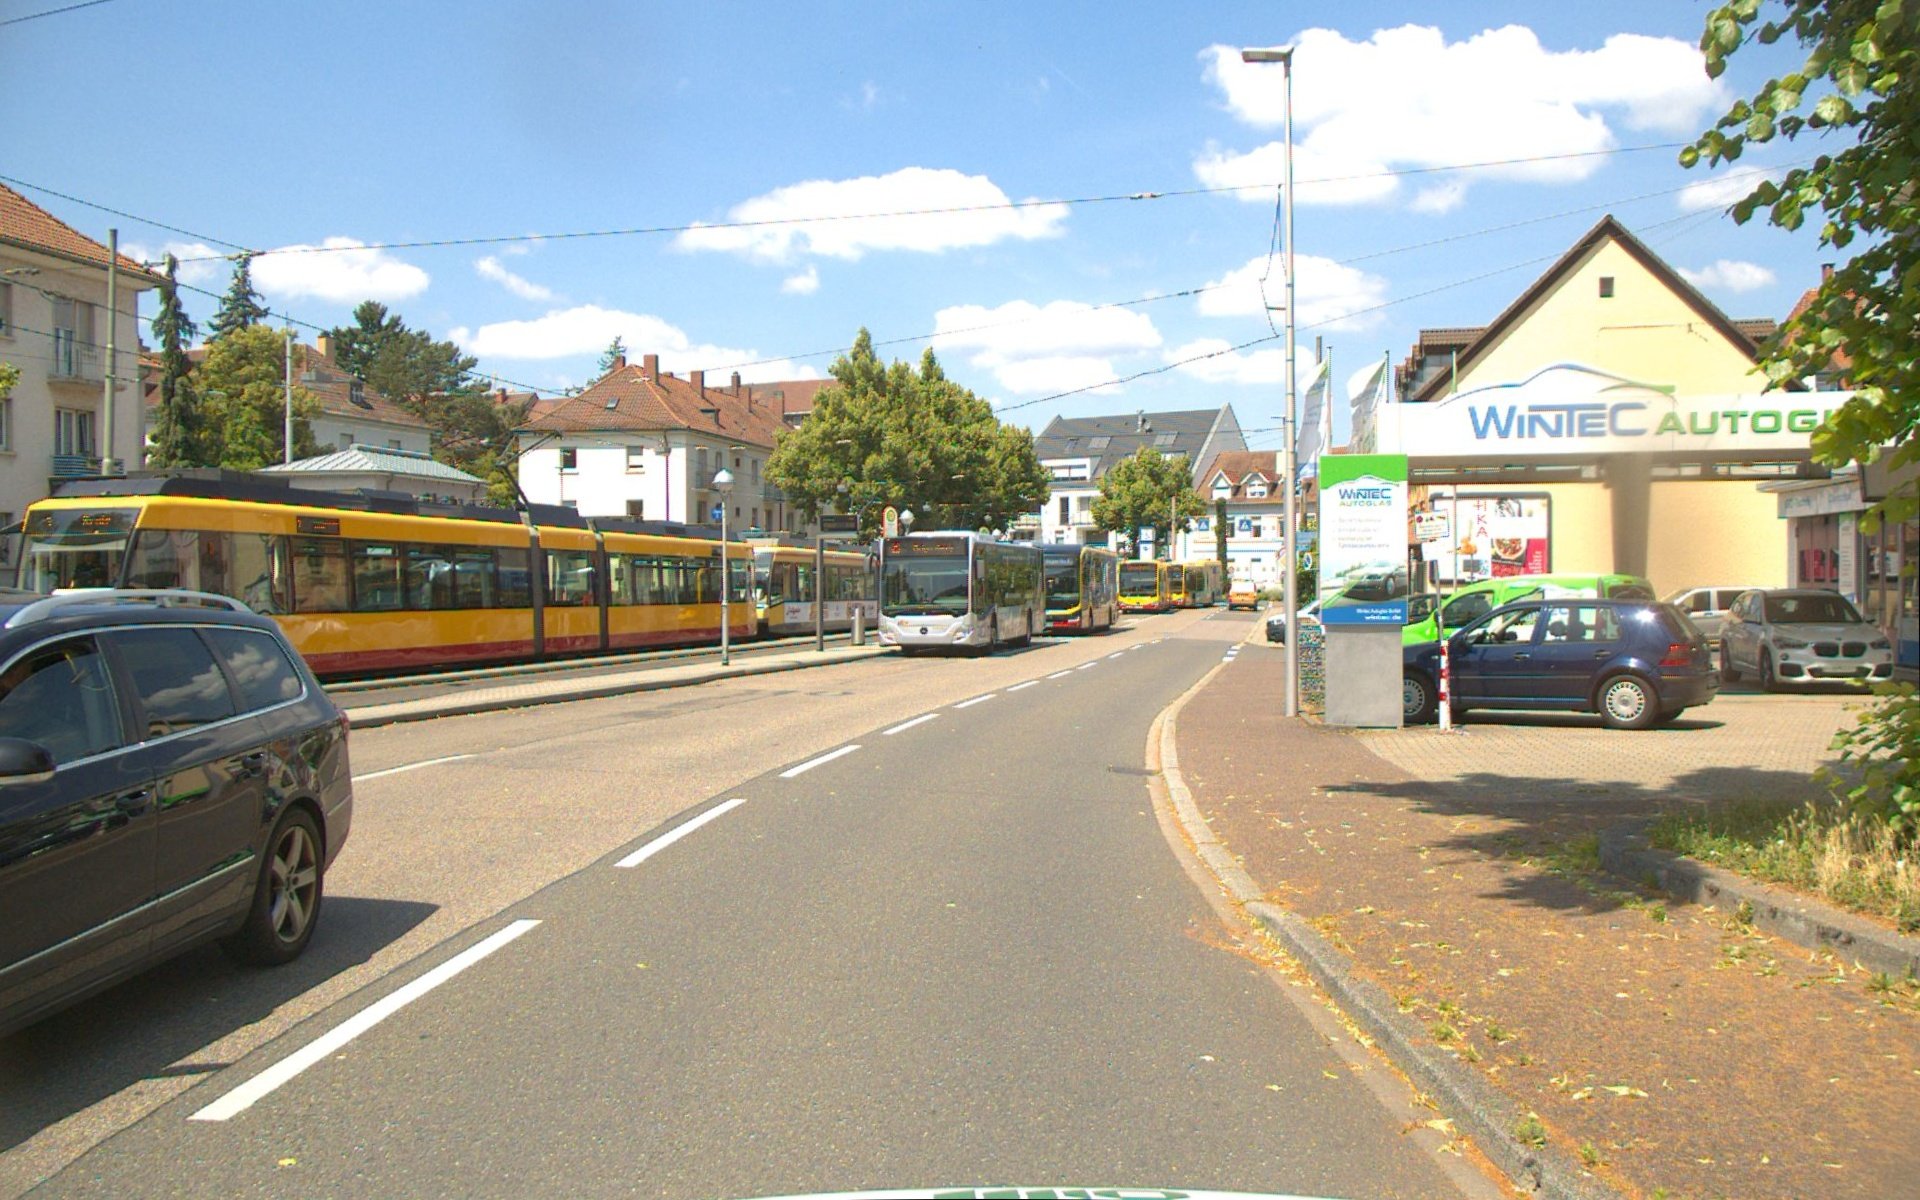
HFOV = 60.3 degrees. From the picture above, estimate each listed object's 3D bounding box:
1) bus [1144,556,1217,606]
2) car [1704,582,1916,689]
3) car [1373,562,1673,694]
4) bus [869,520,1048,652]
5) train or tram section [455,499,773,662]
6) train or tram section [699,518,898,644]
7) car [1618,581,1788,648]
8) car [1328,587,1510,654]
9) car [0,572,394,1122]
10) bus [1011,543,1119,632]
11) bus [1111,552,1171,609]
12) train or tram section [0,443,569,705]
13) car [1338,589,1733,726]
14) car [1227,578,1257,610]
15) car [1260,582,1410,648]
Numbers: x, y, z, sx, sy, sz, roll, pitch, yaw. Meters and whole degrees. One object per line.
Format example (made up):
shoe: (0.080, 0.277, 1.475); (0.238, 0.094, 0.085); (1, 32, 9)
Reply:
bus: (15.216, -1.249, 113.459); (2.580, 3.275, 9.939); (0, 0, 22)
car: (14.082, 0.544, 27.679); (1.965, 1.624, 4.292); (0, 0, 10)
car: (8.407, 0.395, 24.966); (1.822, 1.825, 3.972); (0, 0, -37)
bus: (0.259, -0.370, 46.086); (2.672, 3.184, 12.018); (0, 0, 11)
train or tram section: (-8.589, -0.460, 44.287); (2.725, 3.631, 14.718); (0, 0, 12)
train or tram section: (-5.402, -0.623, 60.026); (2.725, 3.963, 15.565); (0, 0, 12)
car: (22.156, 0.399, 49.455); (4.212, 1.840, 2.002); (1, 2, 7)
car: (10.956, 0.485, 39.687); (3.849, 1.545, 1.822); (-1, 0, -1)
car: (-3.653, 0.688, 5.416); (1.952, 1.546, 4.512); (0, 0, 1)
bus: (4.329, -0.461, 65.059); (2.672, 3.184, 12.018); (0, 0, 11)
bus: (11.048, -1.129, 100.287); (2.672, 3.275, 11.058); (0, 0, 11)
train or tram section: (-11.479, -0.389, 30.142); (2.749, 3.631, 14.193); (0, 0, 12)
car: (6.779, 0.633, 19.625); (4.086, 1.464, 1.896); (-1, 0, 34)
car: (18.522, -0.384, 108.470); (1.769, 2.015, 4.003); (0, 0, 12)
car: (11.253, 0.415, 49.862); (4.212, 1.840, 2.002); (1, 2, 7)
